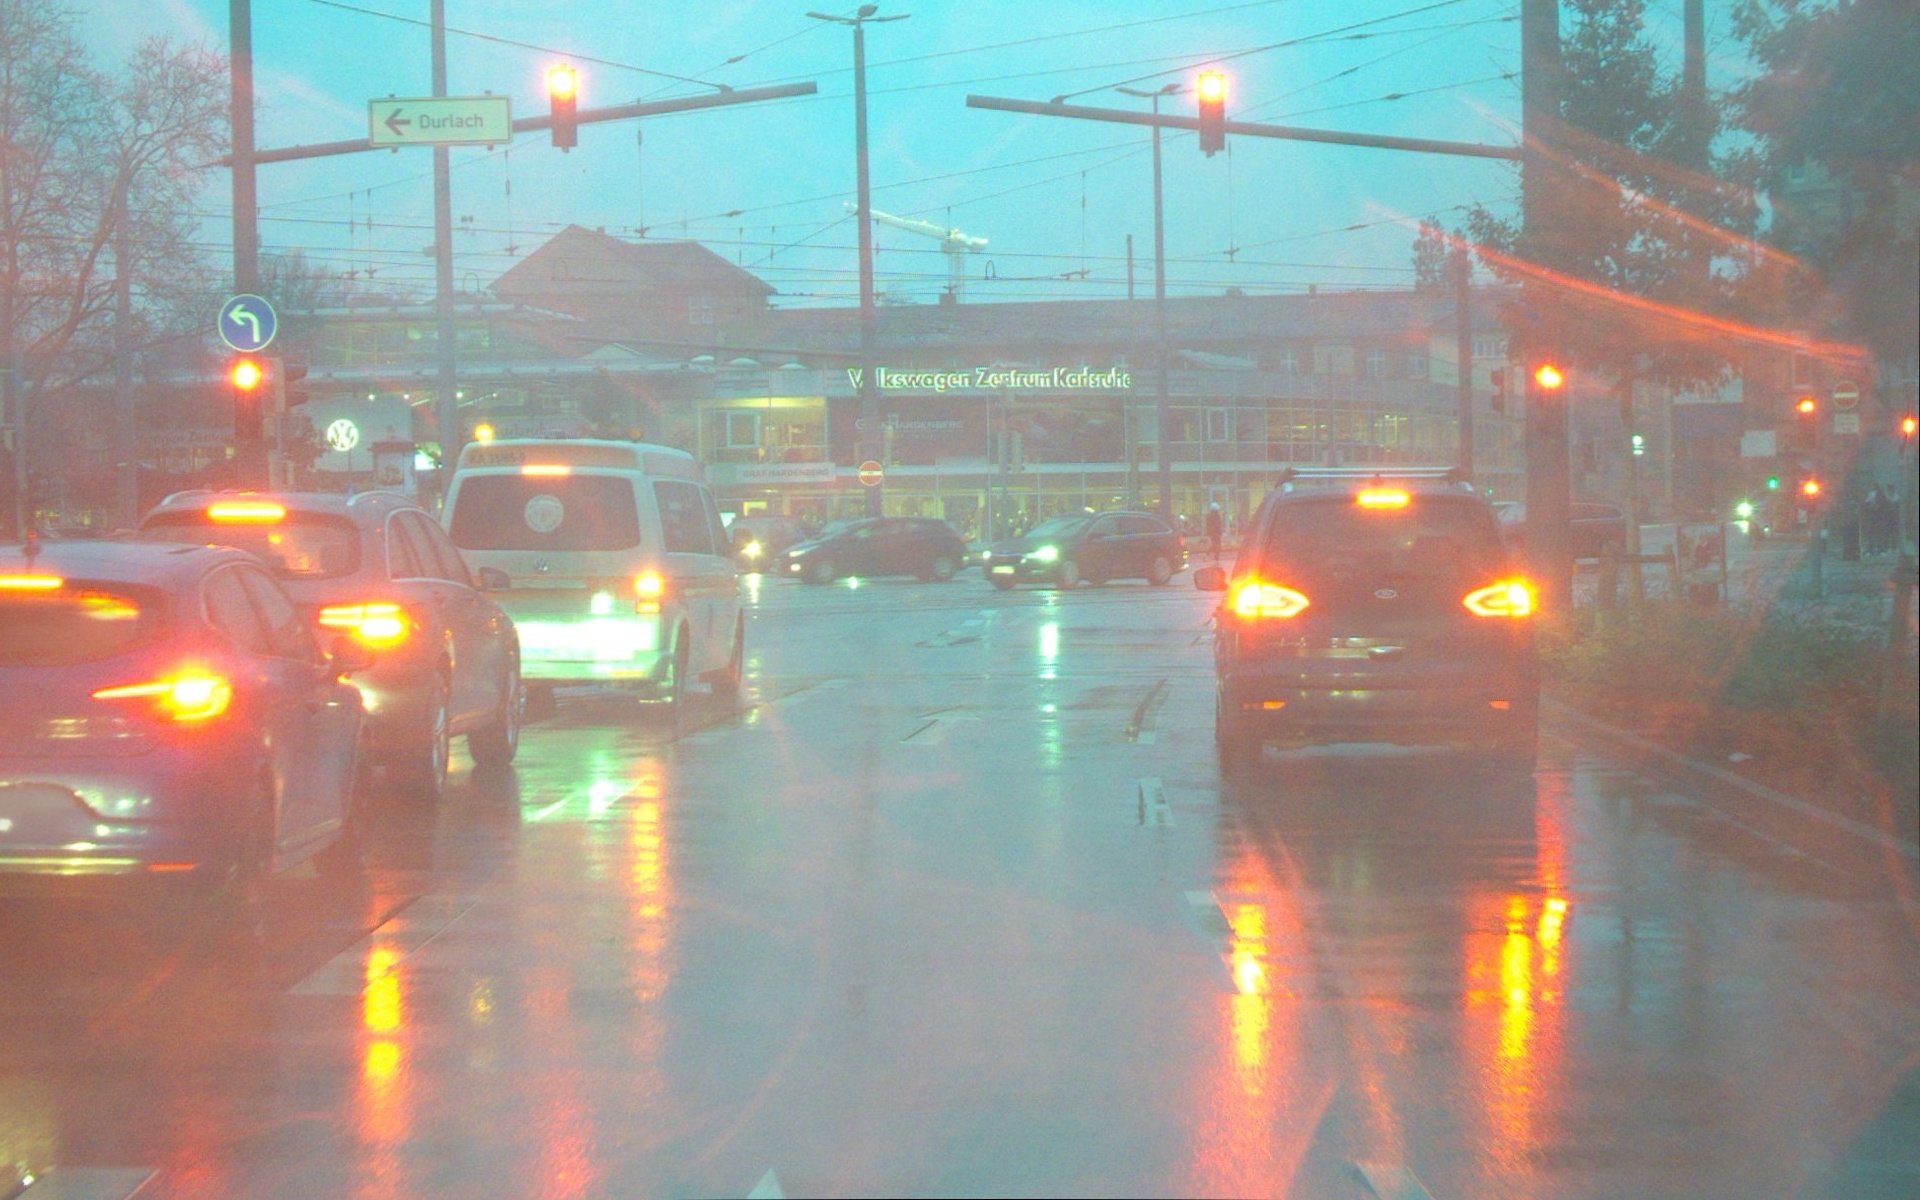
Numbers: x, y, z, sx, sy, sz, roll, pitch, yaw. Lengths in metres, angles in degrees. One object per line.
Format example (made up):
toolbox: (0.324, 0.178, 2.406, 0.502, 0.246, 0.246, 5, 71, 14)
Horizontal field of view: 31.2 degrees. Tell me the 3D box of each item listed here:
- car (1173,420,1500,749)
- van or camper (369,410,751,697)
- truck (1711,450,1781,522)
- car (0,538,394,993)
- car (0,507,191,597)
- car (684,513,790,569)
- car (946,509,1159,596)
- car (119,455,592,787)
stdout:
car: (2.229, -0.154, 21.037, 1.778, 1.794, 4.424, 0, 2, 4)
van or camper: (-3.103, -0.398, 27.828, 2.202, 2.102, 4.987, 1, 1, 4)
truck: (30.686, -4.432, 134.110, 1.995, 2.682, 5.110, -1, 1, 20)
car: (-3.226, 0.491, 12.952, 1.659, 1.399, 4.121, 1, 1, -3)
car: (-18.152, -1.008, 71.723, 3.986, 1.766, 2.001, -2, 1, -15)
car: (-5.966, -1.611, 92.514, 1.814, 1.441, 3.998, -1, 1, 12)
car: (1.769, -0.908, 64.960, 1.998, 1.509, 3.991, 0, 2, 38)
car: (-3.244, 0.057, 19.328, 1.785, 1.595, 4.541, 2, 1, 0)
